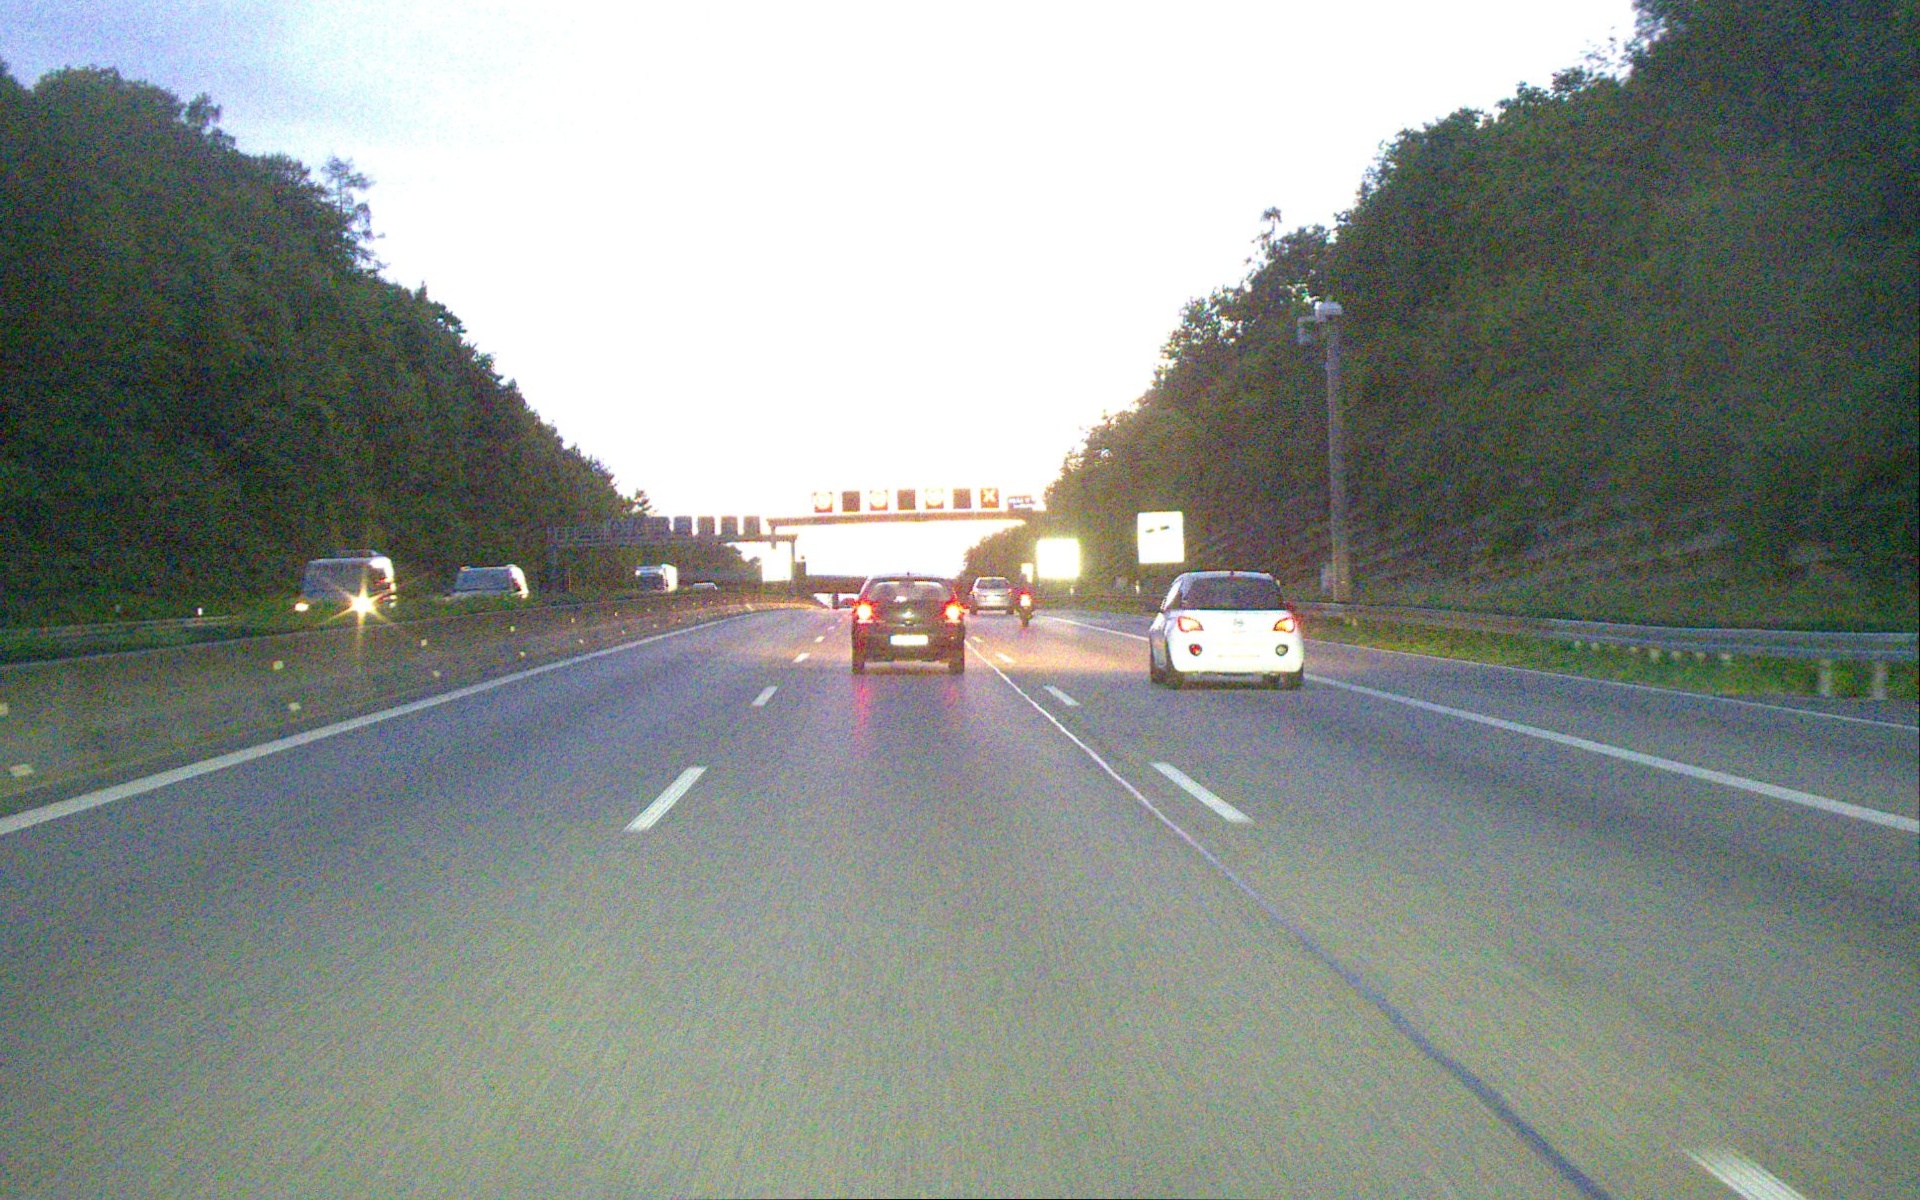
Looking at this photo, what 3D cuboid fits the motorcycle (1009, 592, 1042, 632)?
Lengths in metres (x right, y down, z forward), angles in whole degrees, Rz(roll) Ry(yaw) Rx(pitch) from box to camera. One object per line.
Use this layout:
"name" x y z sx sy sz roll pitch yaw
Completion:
"motorcycle" 1.866 0.345 98.043 0.829 1.130 2.476 -1 0 -1

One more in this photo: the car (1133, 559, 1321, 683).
"car" 3.349 0.284 43.909 1.825 1.471 4.399 1 -1 -3

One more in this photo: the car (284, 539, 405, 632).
"car" -17.252 -0.428 96.748 2.312 2.475 7.520 -1 1 -2

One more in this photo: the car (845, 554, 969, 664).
"car" -0.782 0.152 50.104 1.704 1.504 4.232 1 -1 -1

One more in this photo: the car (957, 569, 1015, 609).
"car" 1.010 -0.424 137.743 1.865 1.489 4.399 1 -1 -5

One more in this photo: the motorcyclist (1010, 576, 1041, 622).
"motorcyclist" 1.866 -0.033 97.858 0.829 1.287 1.190 -1 0 -1
